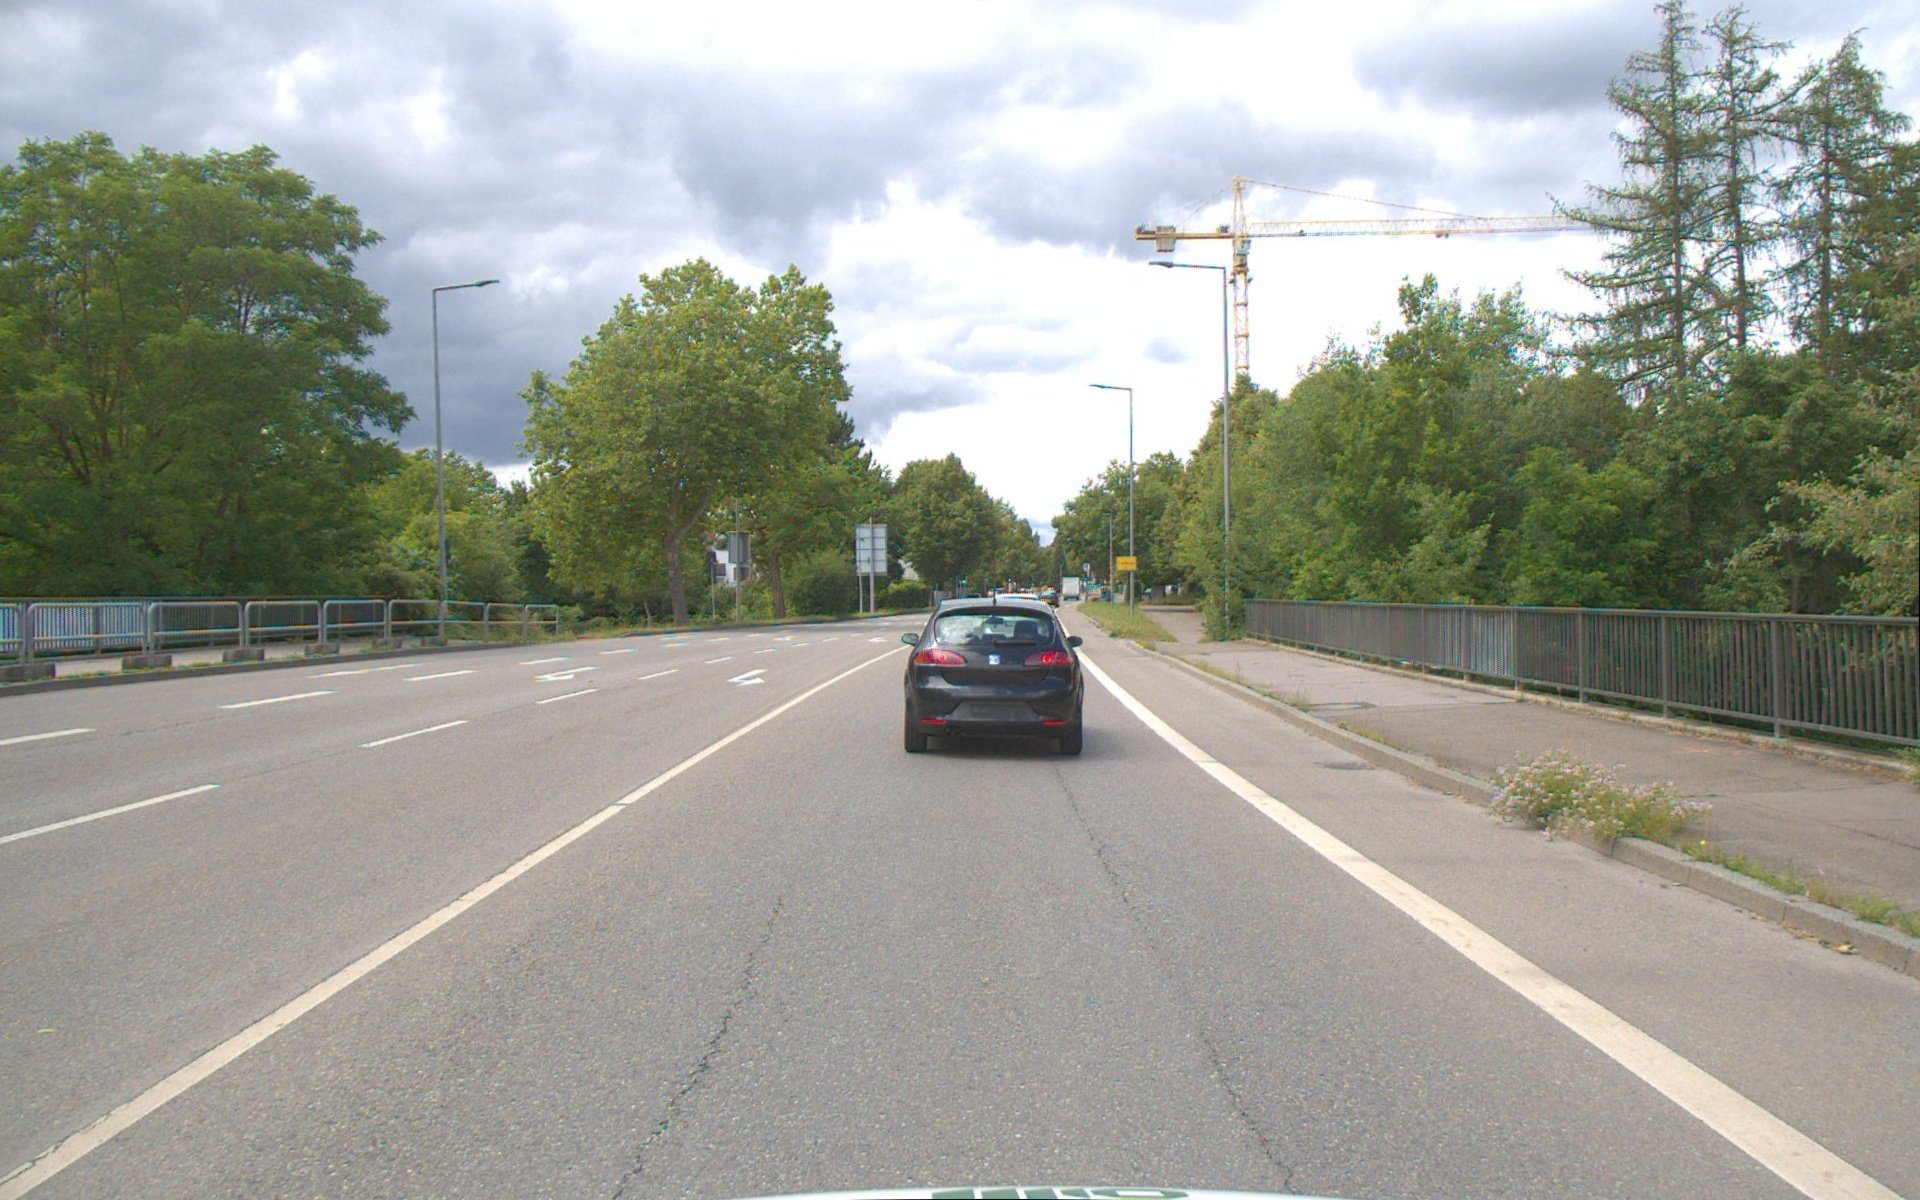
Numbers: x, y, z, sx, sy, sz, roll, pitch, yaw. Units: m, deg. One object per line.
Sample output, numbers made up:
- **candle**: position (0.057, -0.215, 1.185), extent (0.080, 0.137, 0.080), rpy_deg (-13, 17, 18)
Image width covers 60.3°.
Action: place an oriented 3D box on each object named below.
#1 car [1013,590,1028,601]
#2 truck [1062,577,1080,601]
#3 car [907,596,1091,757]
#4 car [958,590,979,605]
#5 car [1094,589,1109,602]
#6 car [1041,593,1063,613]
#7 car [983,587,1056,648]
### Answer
- **car**: position (9.232, -0.644, 251.821), extent (2.056, 1.532, 5.787), rpy_deg (-3, 0, 5)
- **truck**: position (15.036, -1.431, 223.974), extent (2.231, 3.158, 8.515), rpy_deg (1, 0, 4)
- **car**: position (0.339, 0.682, 16.690), extent (1.629, 1.426, 3.811), rpy_deg (1, 0, 0)
- **car**: position (0.898, -0.242, 165.910), extent (1.682, 1.419, 4.804), rpy_deg (-3, 0, 5)
- **car**: position (16.152, -0.530, 188.233), extent (1.652, 1.516, 3.357), rpy_deg (-1, 0, 5)
- **car**: position (8.421, 0.272, 150.813), extent (1.842, 1.718, 4.216), rpy_deg (-1, 0, 5)
- **car**: position (1.627, 0.443, 43.804), extent (1.807, 1.536, 3.813), rpy_deg (1, 0, 4)
